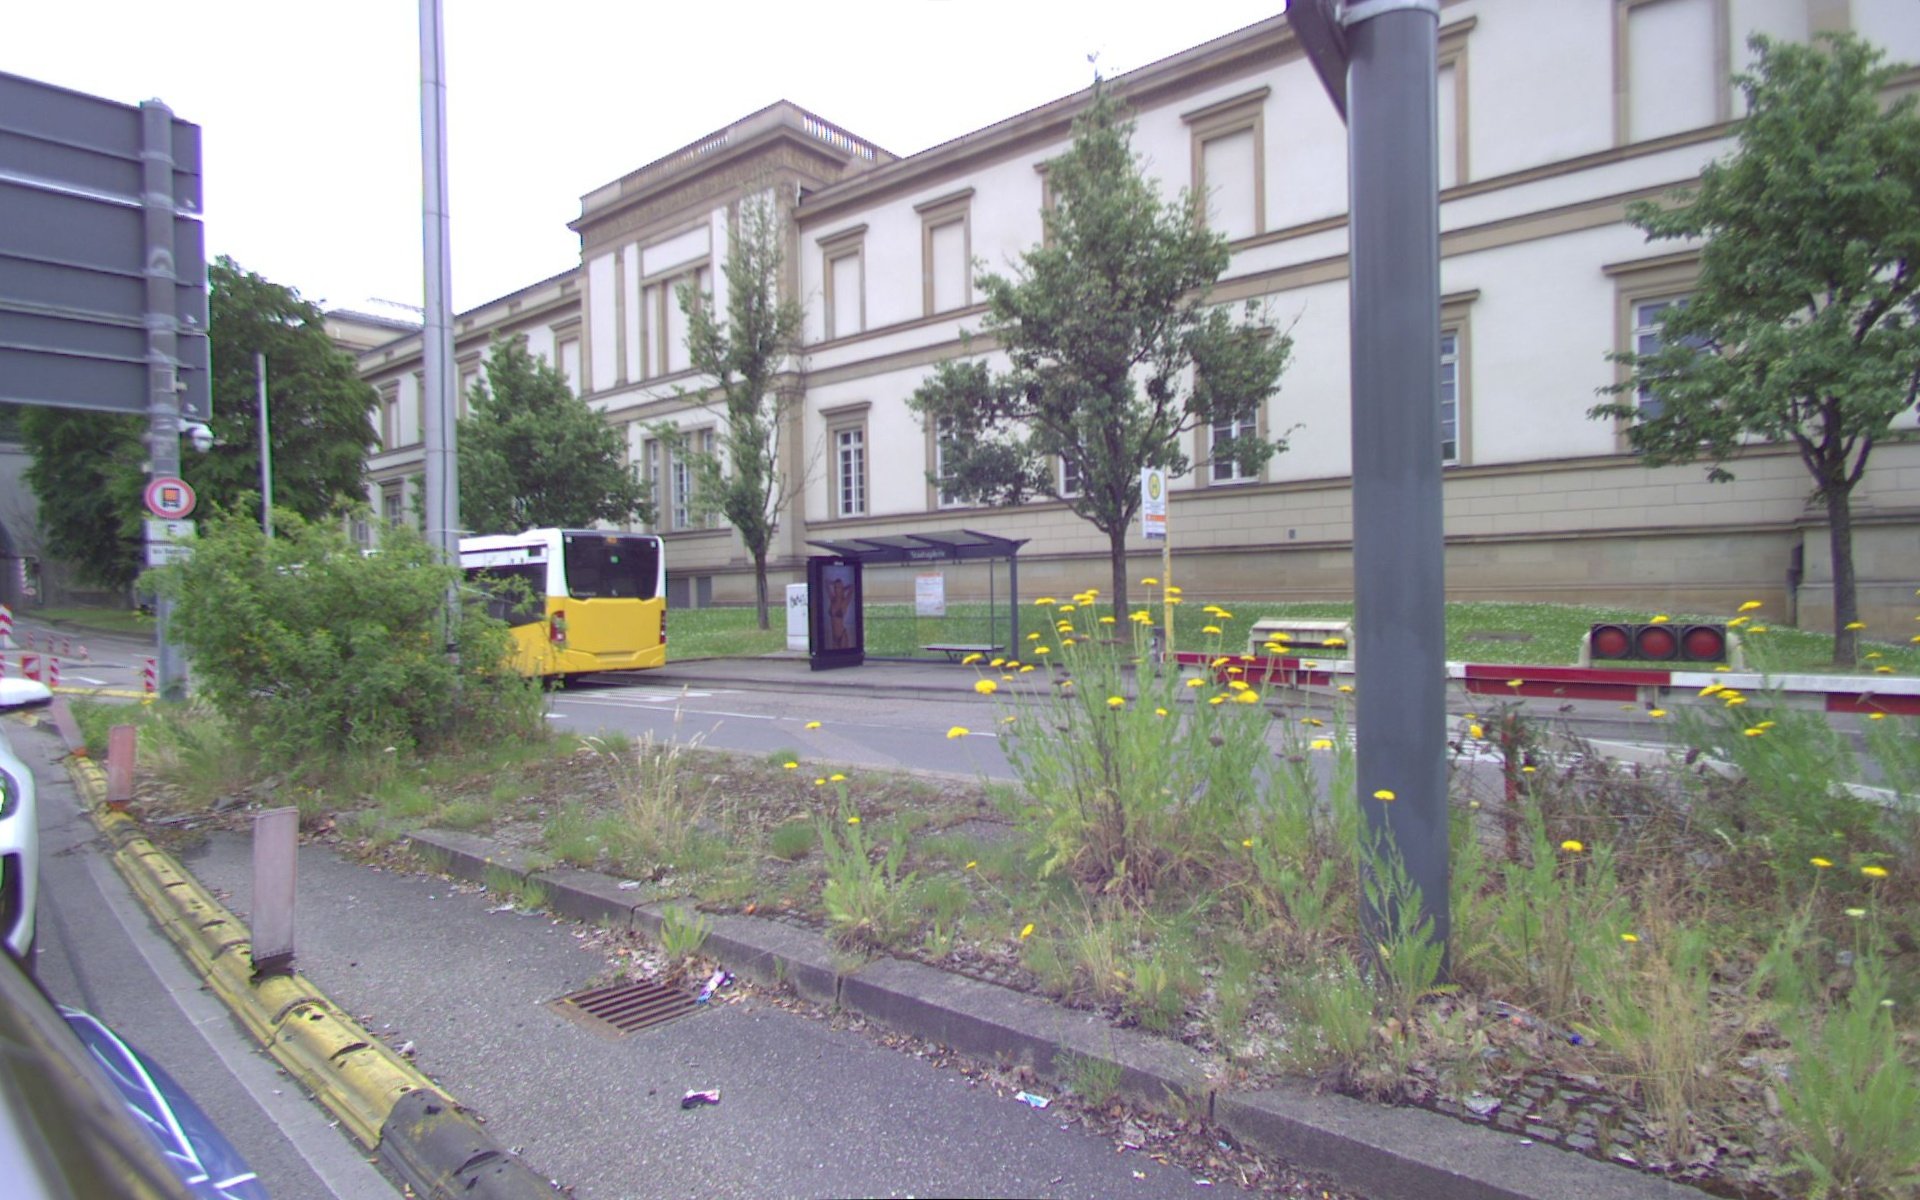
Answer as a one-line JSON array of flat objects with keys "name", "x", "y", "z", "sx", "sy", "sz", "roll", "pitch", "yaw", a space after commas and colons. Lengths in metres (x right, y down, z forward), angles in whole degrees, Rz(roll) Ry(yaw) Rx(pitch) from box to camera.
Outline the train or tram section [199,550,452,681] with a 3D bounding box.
[{"name": "train or tram section", "x": -17.578, "y": 0.477, "z": 27.704, "sx": 9.359, "sy": 3.094, "sz": 2.669, "roll": -1, "pitch": -2, "yaw": 37}]

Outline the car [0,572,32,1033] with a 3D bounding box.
[{"name": "car", "x": -5.231, "y": 0.715, "z": 4.202, "sx": 3.911, "sy": 1.568, "sz": 1.733, "roll": -1, "pitch": 0, "yaw": 43}]

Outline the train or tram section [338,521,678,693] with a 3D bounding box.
[{"name": "train or tram section", "x": -10.135, "y": 0.232, "z": 22.055, "sx": 9.322, "sy": 3.094, "sz": 2.668, "roll": -1, "pitch": -2, "yaw": 38}]
